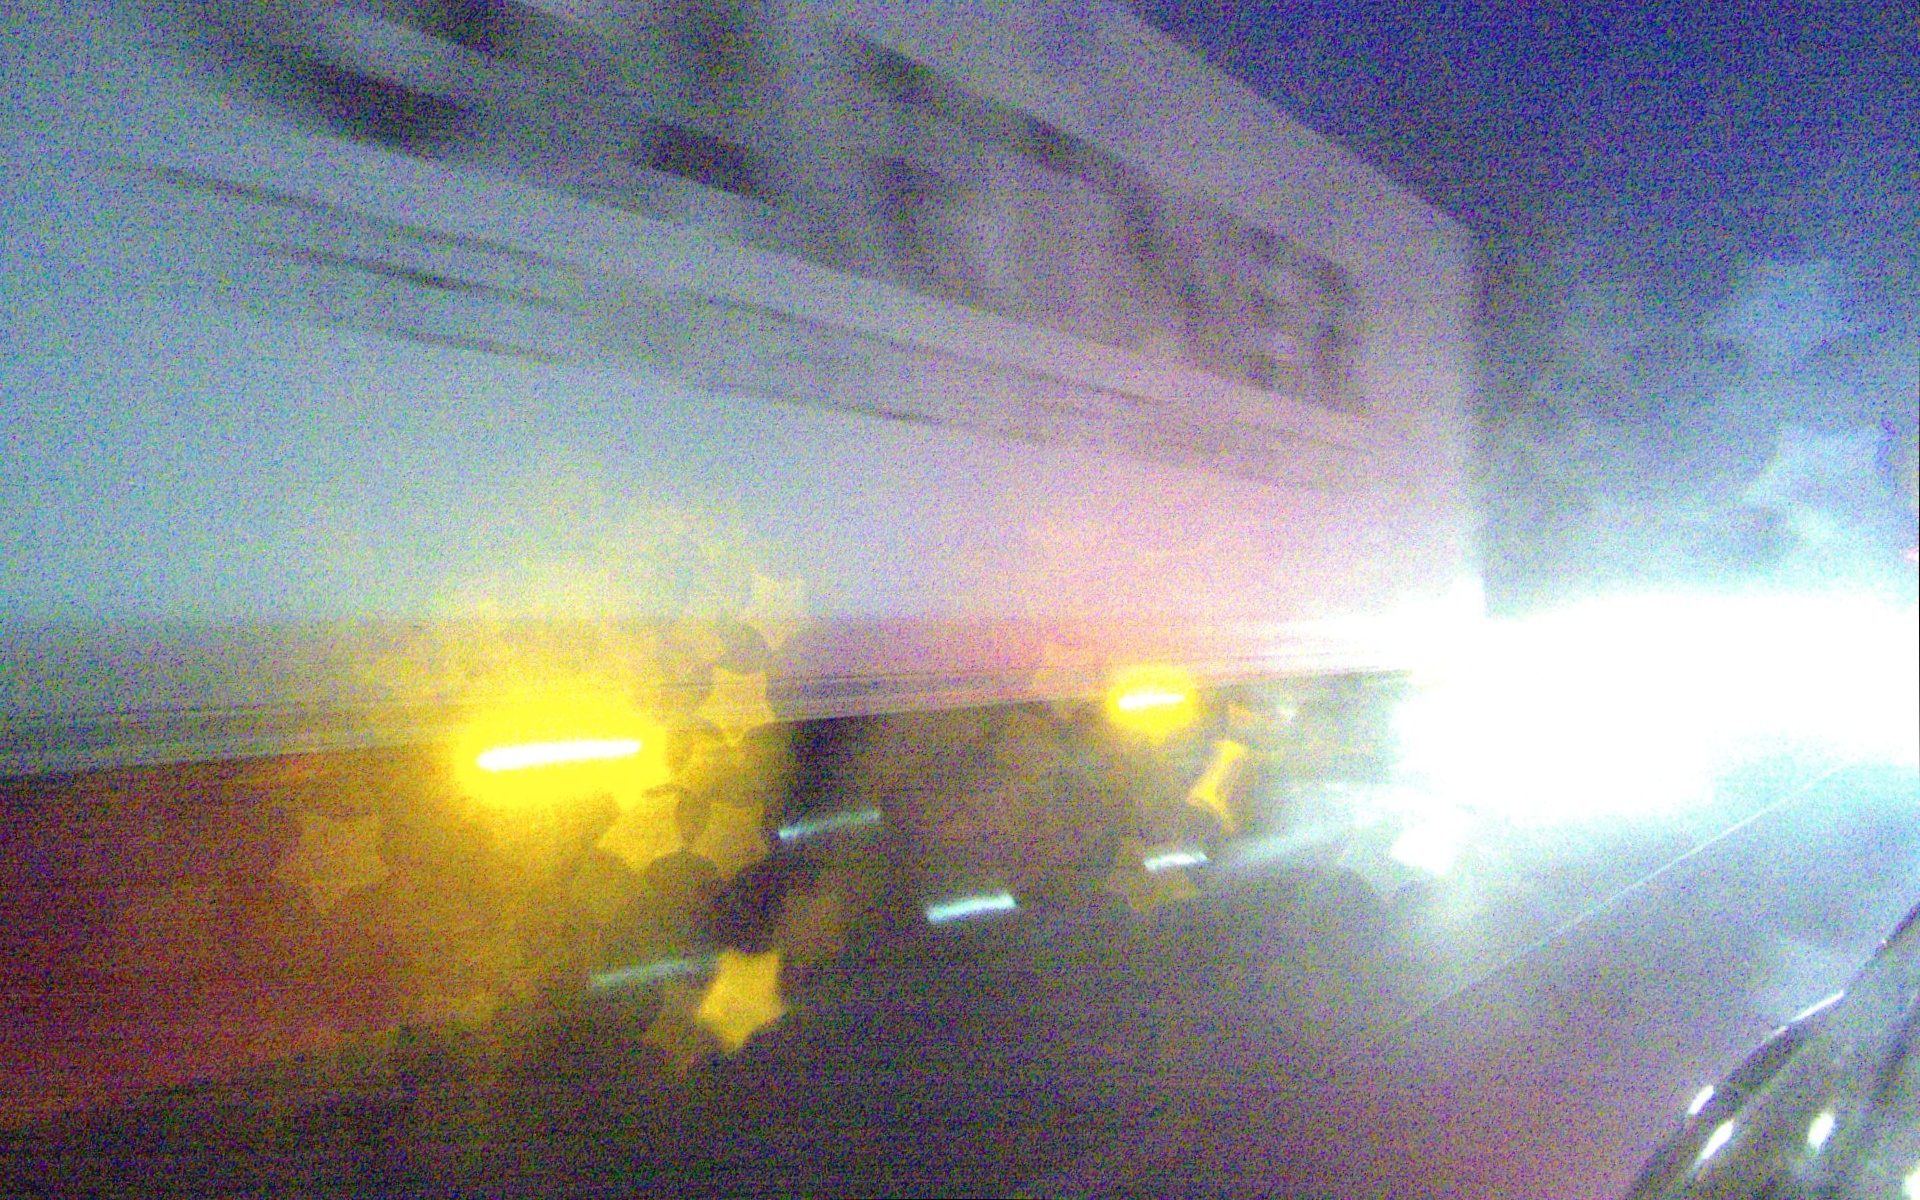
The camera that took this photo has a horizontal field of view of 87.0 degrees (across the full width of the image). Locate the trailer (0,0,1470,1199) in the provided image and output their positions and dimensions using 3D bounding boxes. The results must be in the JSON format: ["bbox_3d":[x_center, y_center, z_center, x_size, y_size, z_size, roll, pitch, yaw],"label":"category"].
[{"bbox_3d":[-2.590,-0.781,3.103,13.139,4.302,2.743,0,0,-42],"label":"trailer"}]
